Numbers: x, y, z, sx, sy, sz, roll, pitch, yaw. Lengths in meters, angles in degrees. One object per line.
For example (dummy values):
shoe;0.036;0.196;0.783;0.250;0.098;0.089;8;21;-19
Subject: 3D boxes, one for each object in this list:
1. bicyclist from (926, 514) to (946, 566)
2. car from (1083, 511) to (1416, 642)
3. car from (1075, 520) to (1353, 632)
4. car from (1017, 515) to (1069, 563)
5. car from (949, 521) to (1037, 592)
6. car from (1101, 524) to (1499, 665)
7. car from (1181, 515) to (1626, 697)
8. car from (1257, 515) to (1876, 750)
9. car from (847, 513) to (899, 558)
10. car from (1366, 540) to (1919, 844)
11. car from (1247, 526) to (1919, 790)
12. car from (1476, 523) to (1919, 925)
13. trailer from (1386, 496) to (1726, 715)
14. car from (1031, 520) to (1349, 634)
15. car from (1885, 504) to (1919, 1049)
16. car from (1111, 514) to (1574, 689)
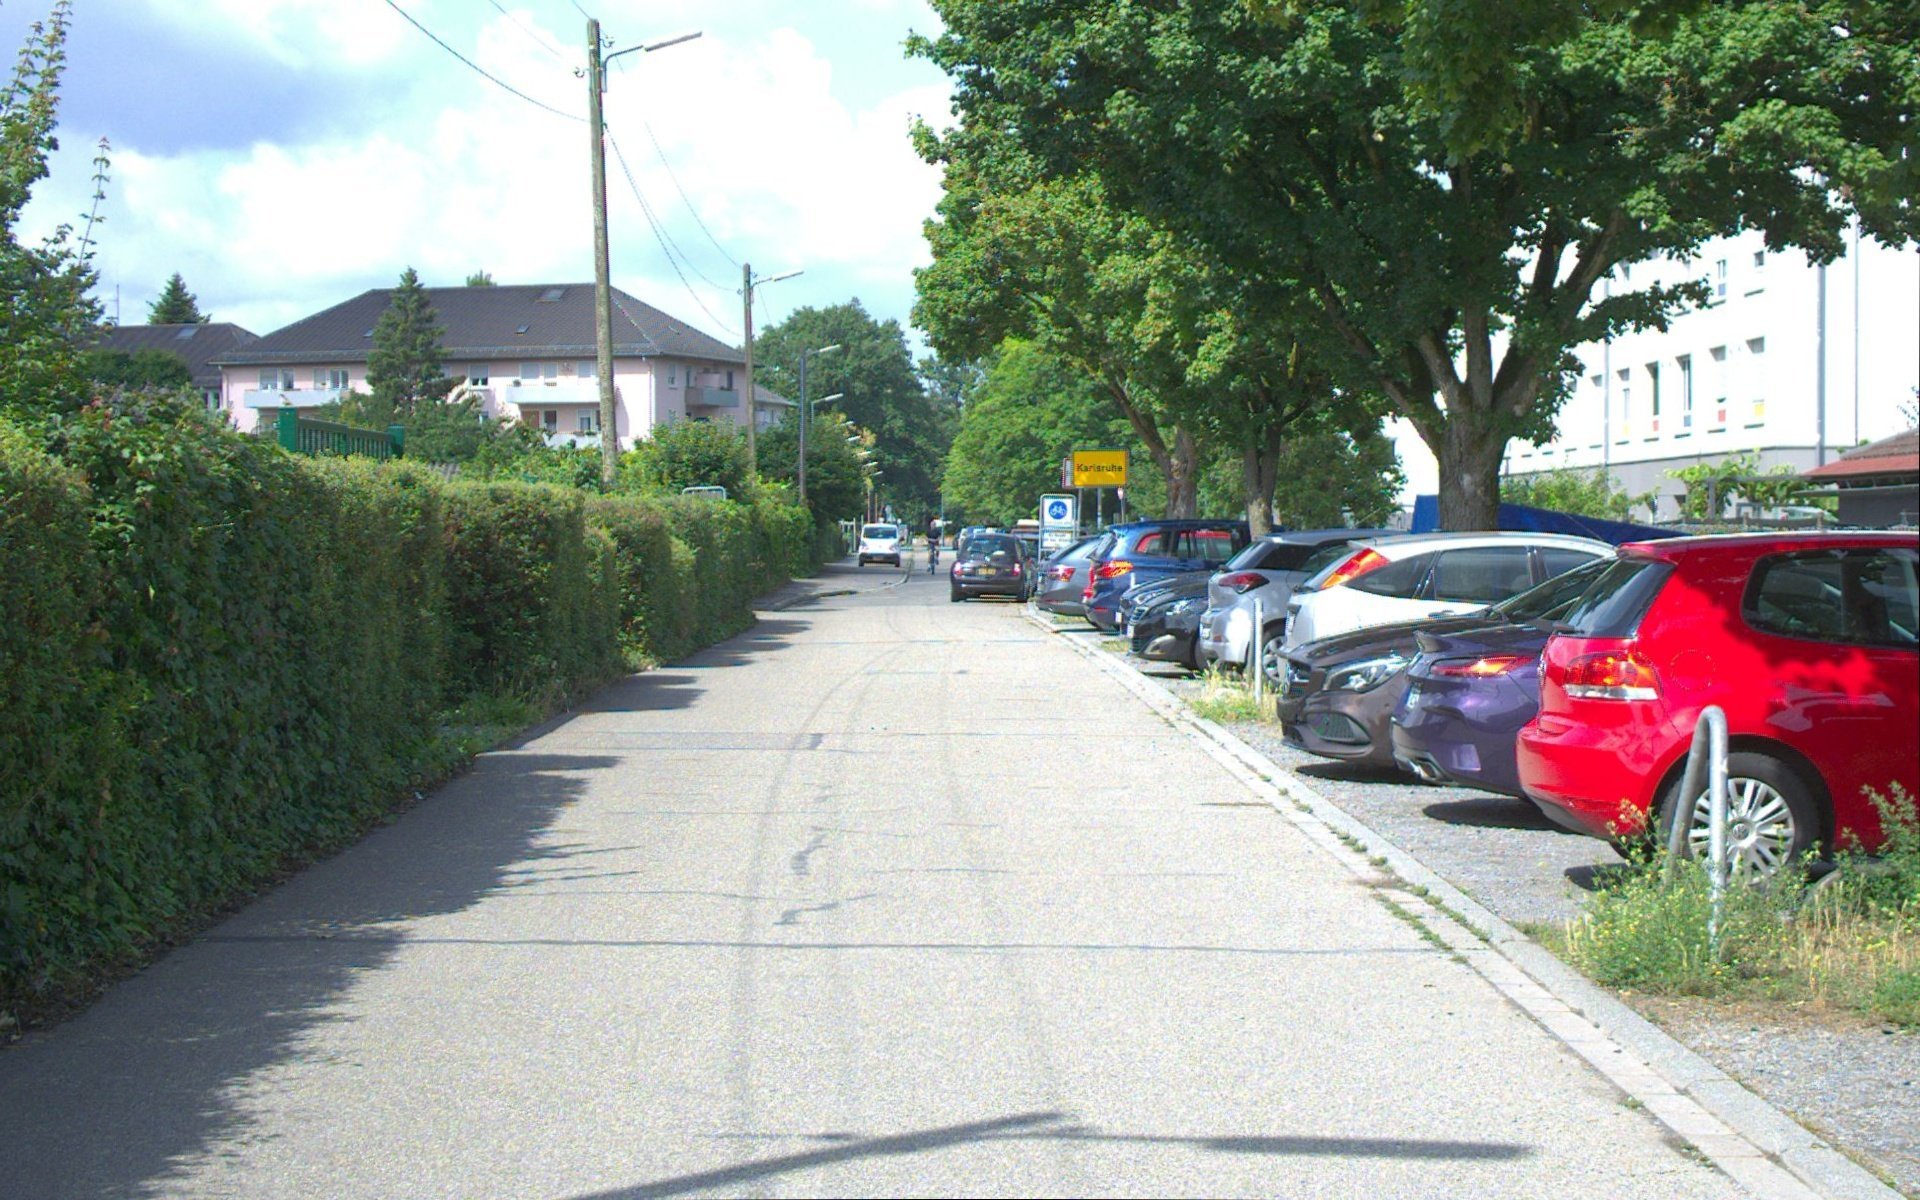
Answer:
bicyclist;-0.874;-2.186;124.862;0.659;1.846;1.043;-1;1;2
car;3.718;-0.311;44.718;4.154;1.632;1.879;0;1;0
car;3.575;-0.352;48.903;3.809;1.527;1.762;0;1;0
car;3.444;-2.520;142.419;2.058;1.919;4.541;1;1;2
car;0.749;-0.965;75.993;1.663;1.501;3.999;1;1;4
car;3.861;-0.072;39.643;4.335;1.487;1.976;1;1;-1
car;4.012;0.040;31.491;3.723;1.534;1.850;1;1;-3
car;4.210;0.207;24.411;4.065;1.506;1.958;1;1;3
car;-3.643;-2.690;144.491;1.903;1.808;4.000;1;1;2
car;4.137;0.447;17.639;3.910;1.419;1.958;1;1;3
car;3.894;0.328;20.805;4.065;1.450;1.870;1;1;-3
car;4.234;0.494;14.125;3.987;1.514;1.854;1;1;3
trailer;4.925;0.023;28.605;2.449;1.714;1.518;1;2;-4
car;3.400;-0.349;51.312;4.548;1.573;1.809;1;1;-2
car;4.668;0.557;9.325;3.764;1.568;1.870;1;1;-1
car;3.727;0.005;34.073;4.302;1.588;2.000;1;1;-1
